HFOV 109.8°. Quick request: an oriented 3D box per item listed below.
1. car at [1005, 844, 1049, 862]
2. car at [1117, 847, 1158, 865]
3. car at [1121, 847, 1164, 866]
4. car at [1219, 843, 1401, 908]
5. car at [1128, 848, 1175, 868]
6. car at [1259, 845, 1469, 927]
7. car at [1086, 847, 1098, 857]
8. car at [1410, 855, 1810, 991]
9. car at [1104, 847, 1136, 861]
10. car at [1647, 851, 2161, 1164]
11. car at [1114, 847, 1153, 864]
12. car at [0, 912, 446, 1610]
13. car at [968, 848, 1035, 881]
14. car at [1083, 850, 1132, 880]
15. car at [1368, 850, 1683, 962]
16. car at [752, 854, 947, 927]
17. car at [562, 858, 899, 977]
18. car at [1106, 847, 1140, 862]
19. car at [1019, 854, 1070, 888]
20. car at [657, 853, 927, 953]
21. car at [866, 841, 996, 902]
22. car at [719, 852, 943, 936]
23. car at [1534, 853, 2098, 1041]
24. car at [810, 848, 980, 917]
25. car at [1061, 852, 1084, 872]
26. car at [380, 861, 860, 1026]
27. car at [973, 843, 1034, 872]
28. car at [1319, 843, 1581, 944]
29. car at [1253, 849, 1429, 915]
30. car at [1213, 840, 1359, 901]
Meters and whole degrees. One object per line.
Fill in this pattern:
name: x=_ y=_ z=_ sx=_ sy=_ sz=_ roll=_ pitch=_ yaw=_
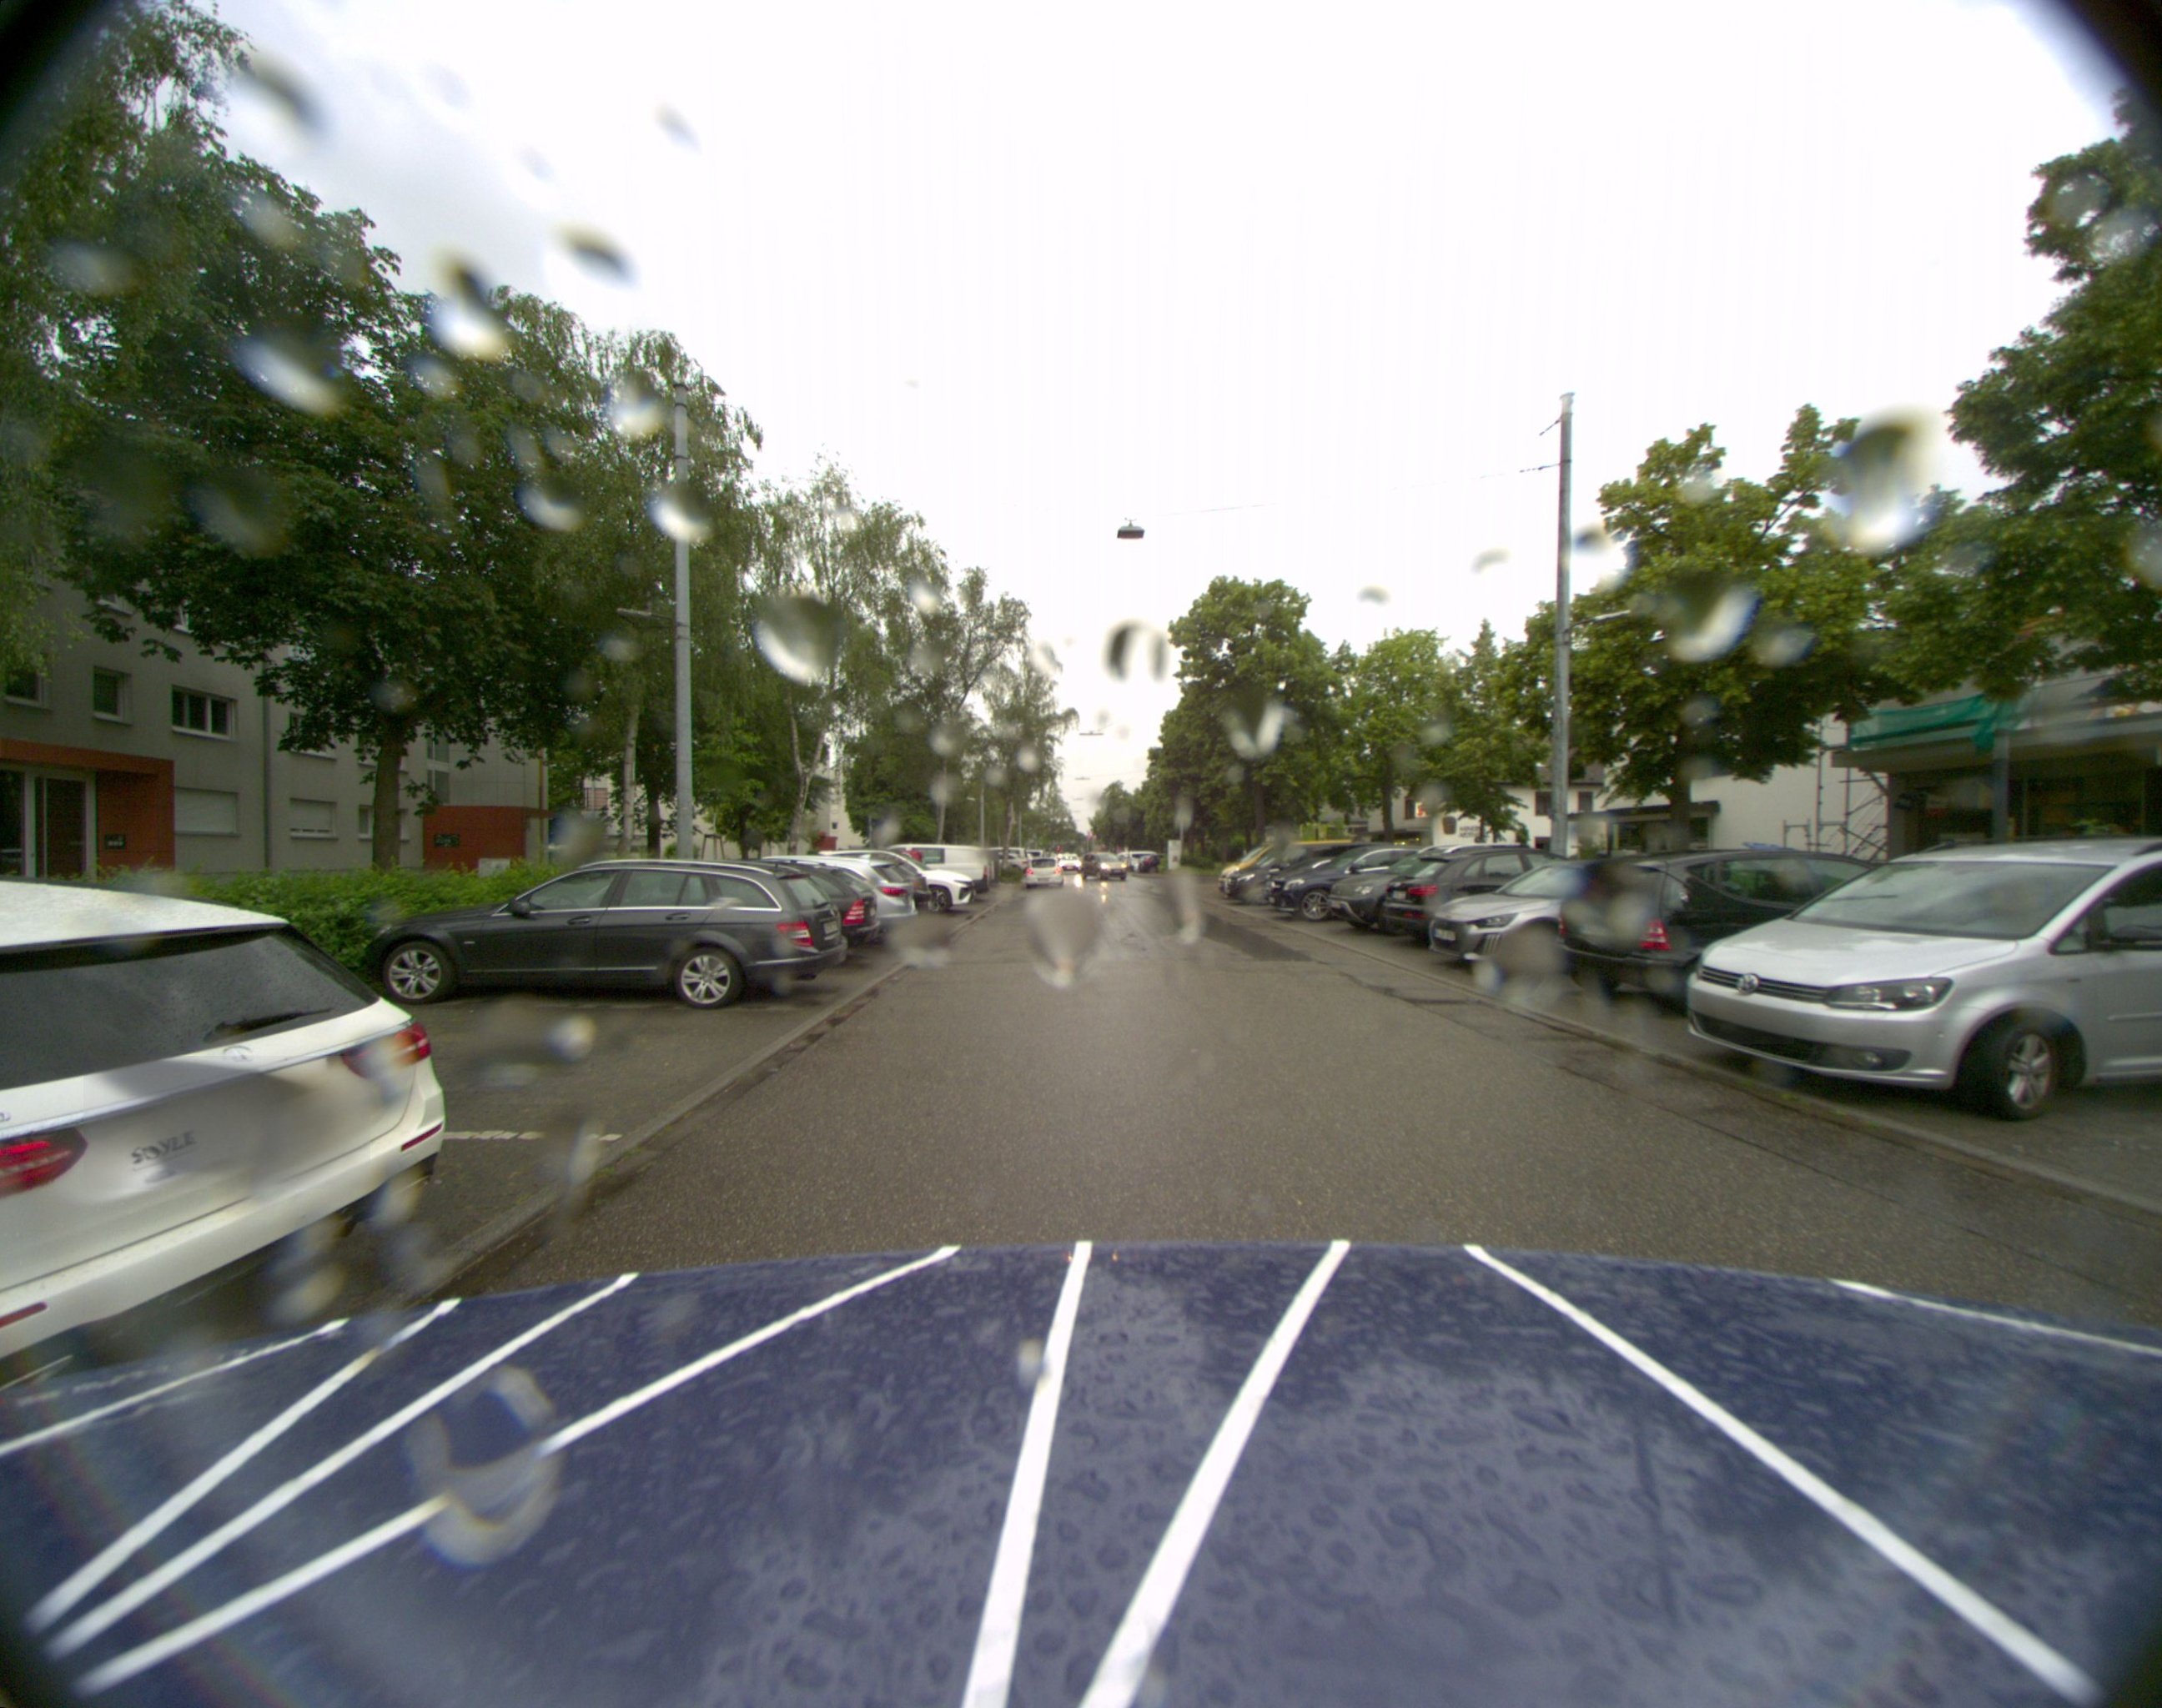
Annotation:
car: x=-5.290 y=-0.106 z=75.036 sx=3.995 sy=1.670 sz=1.902 roll=-2 pitch=1 yaw=4
car: x=5.831 y=0.223 z=78.557 sx=3.998 sy=1.675 sz=1.999 roll=-2 pitch=1 yaw=-3
car: x=6.142 y=0.243 z=76.059 sx=3.998 sy=1.675 sz=1.999 roll=-2 pitch=1 yaw=-3
car: x=7.112 y=0.640 z=23.861 sx=5.177 sy=1.789 sz=1.715 roll=-2 pitch=1 yaw=-2
car: x=6.344 y=0.331 z=68.716 sx=3.998 sy=1.675 sz=1.999 roll=-2 pitch=1 yaw=-3
car: x=6.585 y=0.714 z=17.947 sx=4.283 sy=1.717 sz=1.715 roll=-2 pitch=1 yaw=-2
car: x=1.918 y=-0.386 z=138.741 sx=1.999 sy=1.617 sz=3.999 roll=-2 pitch=1 yaw=-1
car: x=6.981 y=0.857 z=10.316 sx=4.283 sy=1.523 sz=1.715 roll=-2 pitch=1 yaw=-2
car: x=5.198 y=-0.034 z=101.616 sx=3.998 sy=1.675 sz=1.999 roll=-2 pitch=1 yaw=-3
car: x=6.628 y=0.859 z=5.201 sx=4.283 sy=1.625 sz=1.715 roll=-2 pitch=1 yaw=-2
car: x=5.780 y=0.181 z=83.757 sx=3.998 sy=1.675 sz=1.999 roll=-2 pitch=1 yaw=-3
car: x=-4.752 y=0.924 z=2.063 sx=4.623 sy=1.431 sz=1.680 roll=2 pitch=1 yaw=0
car: x=-5.115 y=0.667 z=49.309 sx=3.995 sy=1.902 sz=1.902 roll=-2 pitch=1 yaw=4
car: x=1.547 y=0.648 z=46.004 sx=1.841 sy=1.677 sz=3.995 roll=-2 pitch=1 yaw=-14
car: x=7.264 y=0.803 z=12.680 sx=4.283 sy=1.586 sz=1.715 roll=-2 pitch=1 yaw=-2
car: x=-5.315 y=0.819 z=17.862 sx=4.049 sy=1.488 sz=1.680 roll=2 pitch=1 yaw=-3
car: x=-4.865 y=0.863 z=10.992 sx=4.049 sy=1.431 sz=1.680 roll=2 pitch=1 yaw=-3
car: x=5.213 y=0.065 z=94.420 sx=3.998 sy=1.675 sz=1.999 roll=-2 pitch=1 yaw=-3
car: x=-1.850 y=0.774 z=36.721 sx=2.000 sy=1.446 sz=4.254 roll=-2 pitch=1 yaw=-9
car: x=-4.879 y=0.814 z=13.267 sx=4.049 sy=1.488 sz=1.680 roll=2 pitch=1 yaw=-3
car: x=-5.094 y=0.575 z=26.189 sx=4.182 sy=1.856 sz=1.679 roll=3 pitch=1 yaw=-6
car: x=-5.011 y=0.789 z=15.645 sx=4.049 sy=1.488 sz=1.680 roll=2 pitch=1 yaw=-3
car: x=7.250 y=0.847 z=7.774 sx=4.283 sy=1.556 sz=1.635 roll=-2 pitch=1 yaw=-2
car: x=-5.035 y=0.744 z=20.902 sx=4.179 sy=1.609 sz=1.680 roll=3 pitch=1 yaw=1
car: x=-0.692 y=0.611 z=61.886 sx=1.733 sy=1.519 sz=4.138 roll=0 pitch=1 yaw=-2
car: x=-4.636 y=0.876 z=8.124 sx=4.049 sy=1.431 sz=1.680 roll=2 pitch=1 yaw=-3
car: x=-5.498 y=0.224 z=54.174 sx=3.995 sy=1.902 sz=1.902 roll=-2 pitch=1 yaw=4
car: x=7.081 y=0.717 z=14.858 sx=4.283 sy=1.717 sz=1.715 roll=-2 pitch=1 yaw=-2
car: x=7.133 y=0.728 z=21.090 sx=4.283 sy=1.617 sz=1.715 roll=-2 pitch=1 yaw=-2
car: x=7.182 y=0.555 z=26.920 sx=4.657 sy=1.947 sz=1.715 roll=-2 pitch=1 yaw=-2
